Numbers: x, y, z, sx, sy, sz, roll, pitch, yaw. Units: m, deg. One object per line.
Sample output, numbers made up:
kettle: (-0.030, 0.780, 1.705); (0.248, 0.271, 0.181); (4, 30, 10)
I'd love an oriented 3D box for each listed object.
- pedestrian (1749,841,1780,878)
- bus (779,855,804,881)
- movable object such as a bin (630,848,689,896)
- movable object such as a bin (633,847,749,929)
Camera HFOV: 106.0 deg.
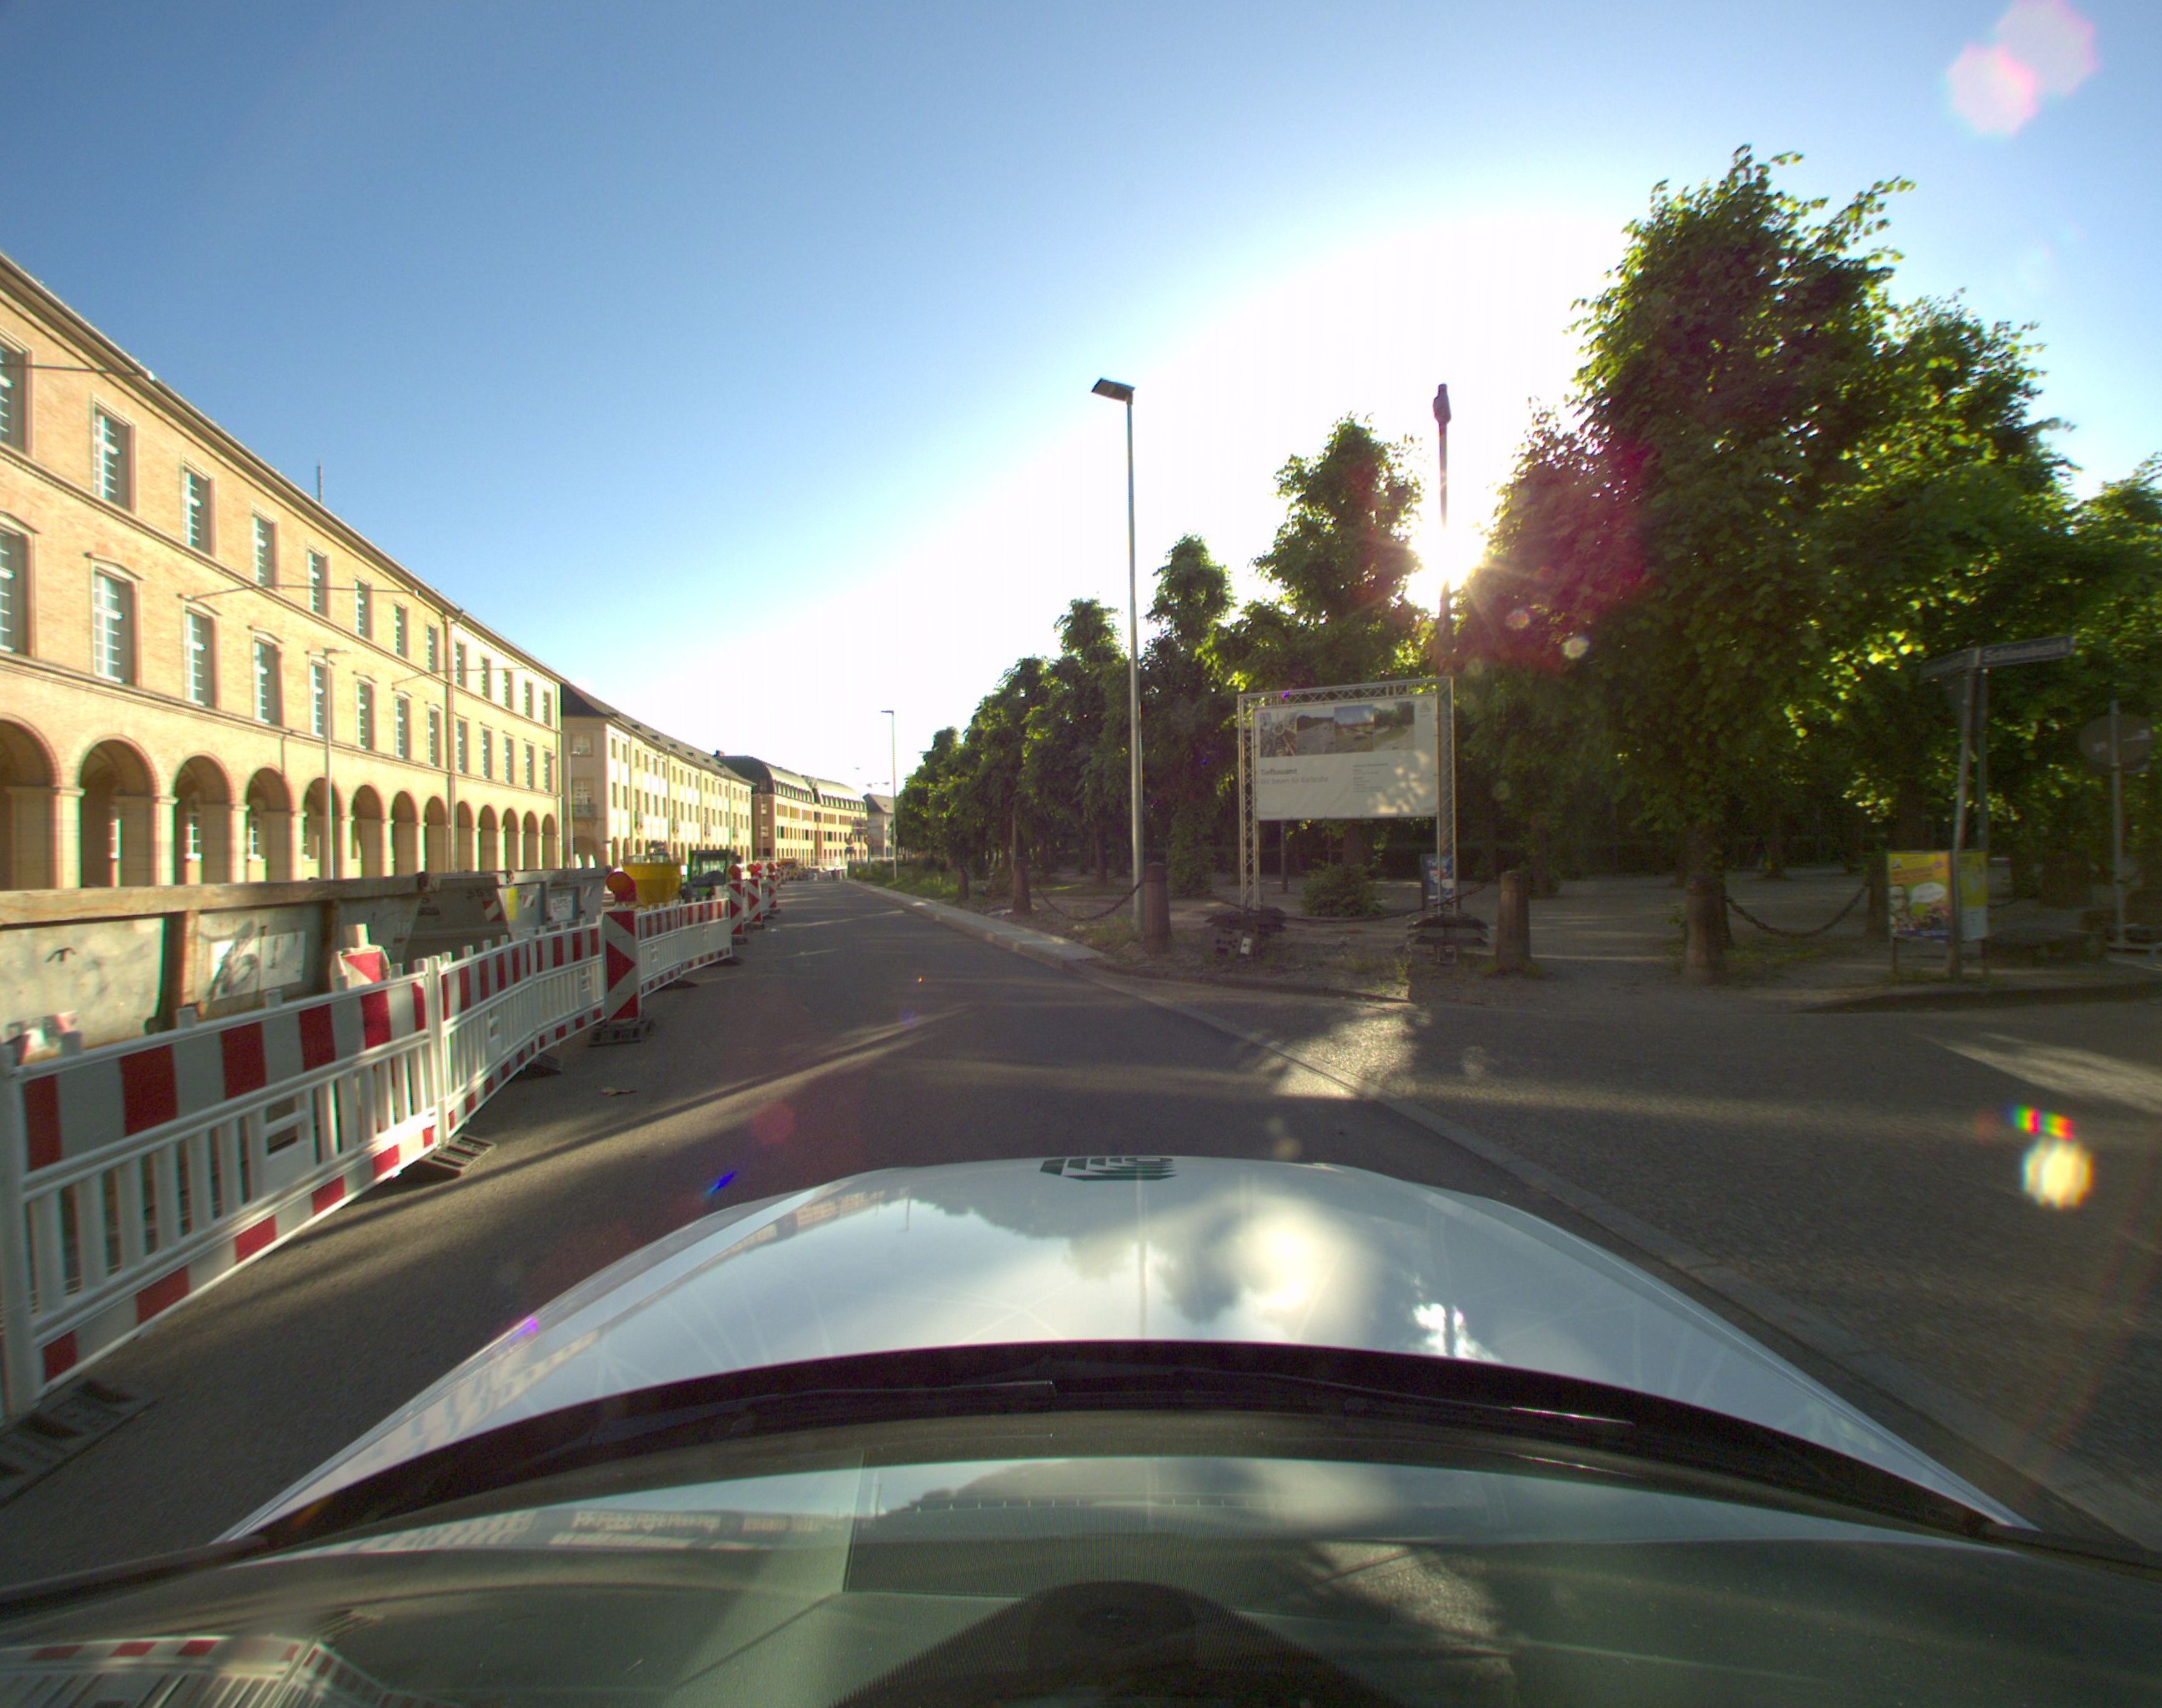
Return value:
pedestrian: (29.730, 0.220, 35.411); (0.683, 1.583, 0.831); (-1, 0, -32)
bus: (-31.569, 1.562, 88.898); (2.075, 2.687, 4.662); (-1, -2, -13)
movable object such as a bin: (-23.887, 0.952, 46.352); (2.079, 2.475, 4.591); (-1, 1, -17)
movable object such as a bin: (-10.443, 0.802, 22.138); (2.054, 1.949, 4.312); (-1, 1, -15)
